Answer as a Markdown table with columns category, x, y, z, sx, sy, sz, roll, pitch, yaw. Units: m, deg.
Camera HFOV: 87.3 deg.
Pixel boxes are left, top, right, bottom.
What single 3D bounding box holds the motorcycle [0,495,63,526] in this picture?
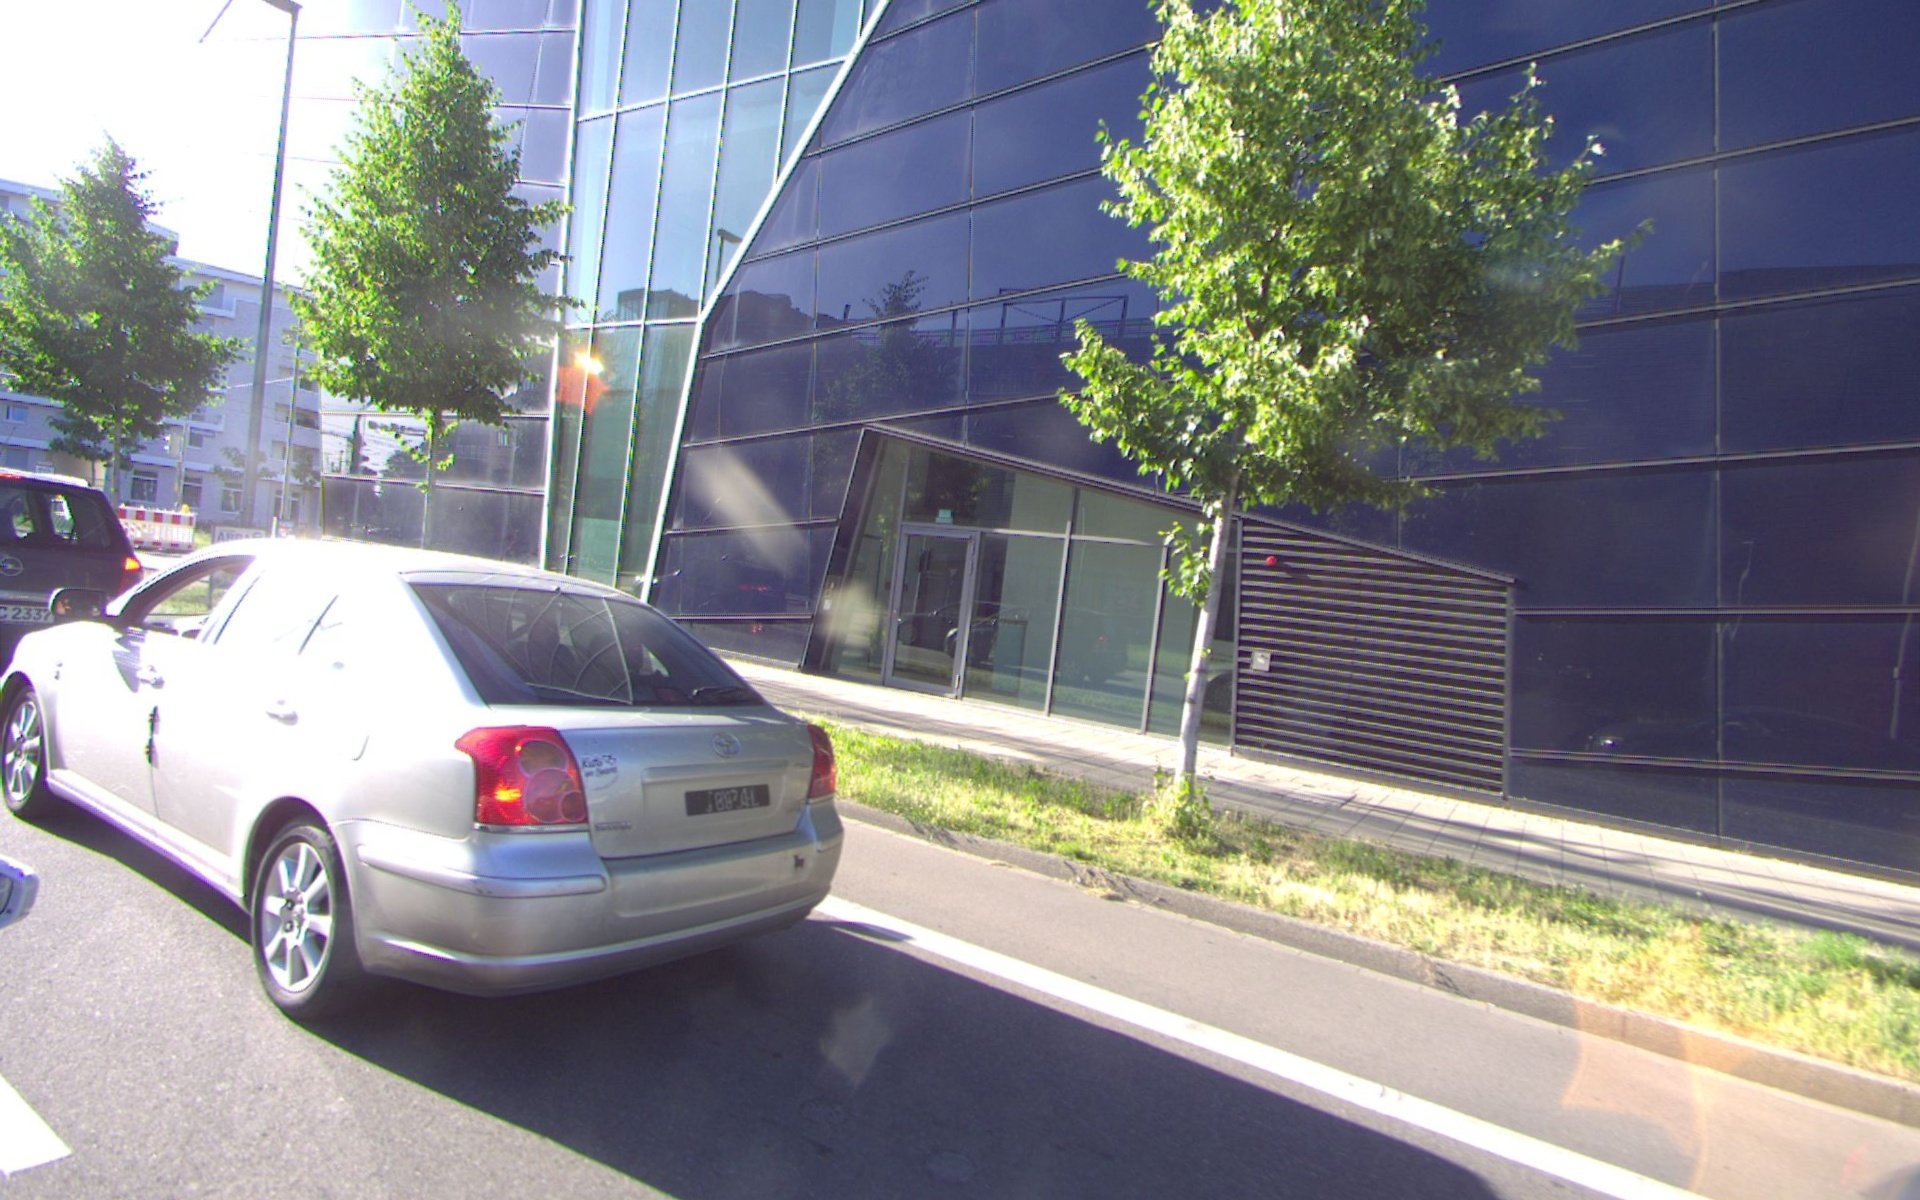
| category | x | y | z | sx | sy | sz | roll | pitch | yaw |
| --- | --- | --- | --- | --- | --- | --- | --- | --- | --- |
| motorcycle | -39.831 | -3.849 | 42.788 | 2.445 | 1.013 | 1.157 | 7 | 0 | -44 |

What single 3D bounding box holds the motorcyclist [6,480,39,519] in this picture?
| category | x | y | z | sx | sy | sz | roll | pitch | yaw |
| --- | --- | --- | --- | --- | --- | --- | --- | --- | --- |
| motorcyclist | -39.804 | -4.272 | 42.736 | 0.922 | 1.500 | 1.157 | 6 | 1 | -43 |

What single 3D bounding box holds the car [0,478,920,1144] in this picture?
| category | x | y | z | sx | sy | sz | roll | pitch | yaw |
| --- | --- | --- | --- | --- | --- | --- | --- | --- | --- |
| car | -2.596 | 0.420 | 4.427 | 4.553 | 1.500 | 1.747 | 7 | 0 | 33 |

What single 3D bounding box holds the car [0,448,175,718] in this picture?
| category | x | y | z | sx | sy | sz | roll | pitch | yaw |
| --- | --- | --- | --- | --- | --- | --- | --- | --- | --- |
| car | -7.886 | -0.312 | 7.495 | 4.190 | 1.716 | 1.749 | 7 | -1 | 32 |

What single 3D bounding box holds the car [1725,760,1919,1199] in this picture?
| category | x | y | z | sx | sy | sz | roll | pitch | yaw |
| --- | --- | --- | --- | --- | --- | --- | --- | --- | --- |
| car | 3.124 | 1.208 | 0.493 | 4.195 | 1.408 | 1.748 | 7 | -1 | 34 |
